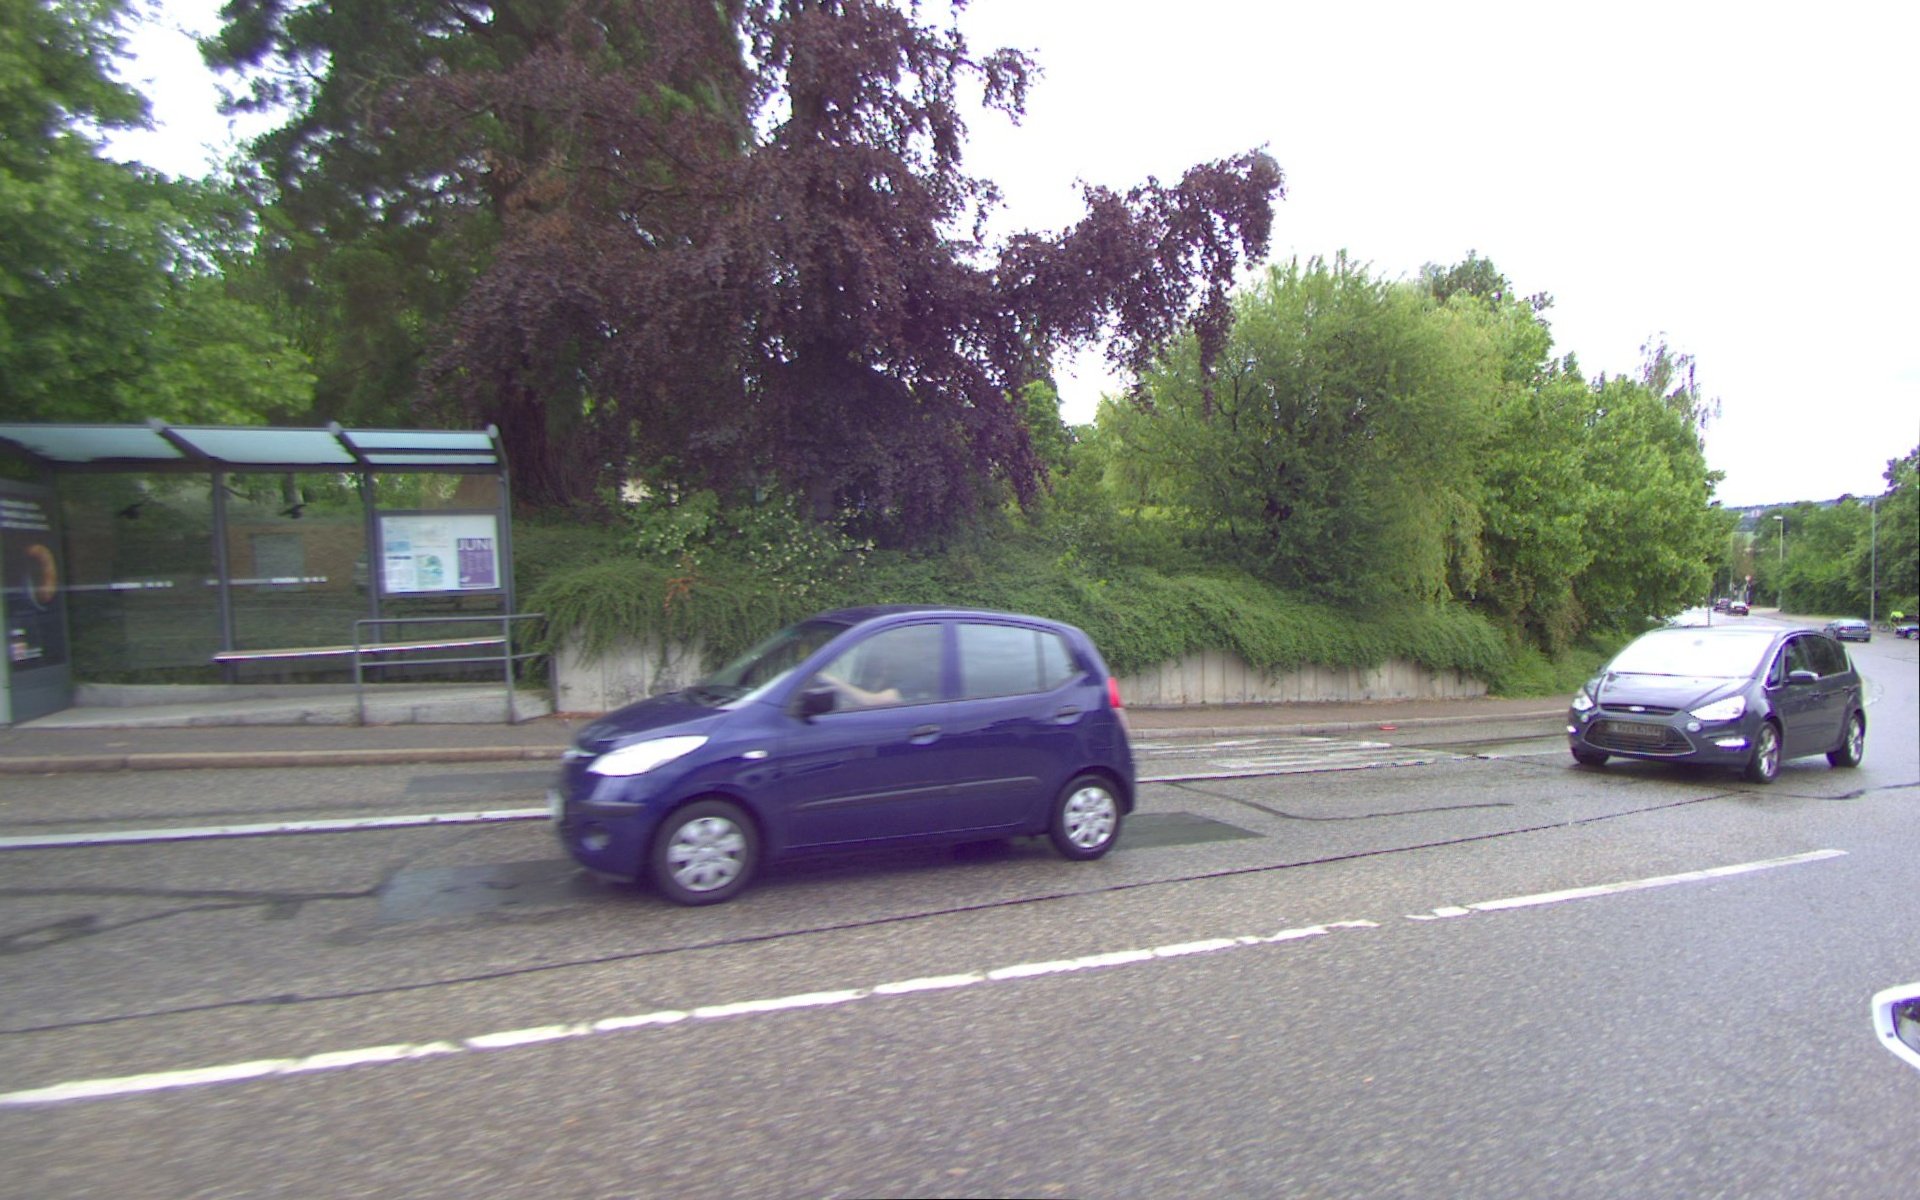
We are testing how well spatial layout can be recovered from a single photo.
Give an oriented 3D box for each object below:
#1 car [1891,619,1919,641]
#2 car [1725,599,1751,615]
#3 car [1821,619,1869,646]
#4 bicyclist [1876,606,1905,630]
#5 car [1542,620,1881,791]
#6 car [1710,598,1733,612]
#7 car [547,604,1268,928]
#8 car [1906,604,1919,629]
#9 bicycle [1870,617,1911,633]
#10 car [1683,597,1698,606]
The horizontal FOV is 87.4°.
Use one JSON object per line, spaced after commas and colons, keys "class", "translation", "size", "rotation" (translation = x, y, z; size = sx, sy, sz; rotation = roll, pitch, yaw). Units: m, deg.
{"class": "car", "translation": [66.005, 2.075, 68.048], "size": [4.074, 1.402, 1.720], "rotation": [1, 0, 38]}
{"class": "car", "translation": [79.741, 0.718, 103.007], "size": [1.698, 1.484, 3.988], "rotation": [5, 3, 33]}
{"class": "car", "translation": [58.057, 2.092, 65.940], "size": [1.698, 1.484, 3.988], "rotation": [5, 3, 33]}
{"class": "bicyclist", "translation": [68.700, 1.308, 74.164], "size": [0.842, 1.779, 1.279], "rotation": [1, 0, -21]}
{"class": "car", "translation": [8.848, 1.085, 11.696], "size": [4.639, 1.598, 1.798], "rotation": [2, 0, -35]}
{"class": "car", "translation": [88.482, 0.523, 116.737], "size": [1.698, 1.484, 3.988], "rotation": [5, 3, 33]}
{"class": "car", "translation": [-0.250, 0.778, 6.437], "size": [4.321, 1.483, 1.715], "rotation": [0, 0, -28]}
{"class": "car", "translation": [74.201, 1.196, 76.402], "size": [4.846, 1.713, 1.937], "rotation": [-3, 4, -31]}
{"class": "bicycle", "translation": [68.693, 1.831, 74.167], "size": [0.842, 1.171, 2.028], "rotation": [1, 0, -21]}
{"class": "car", "translation": [121.291, 0.241, 166.836], "size": [1.698, 1.484, 3.988], "rotation": [5, 3, 33]}
